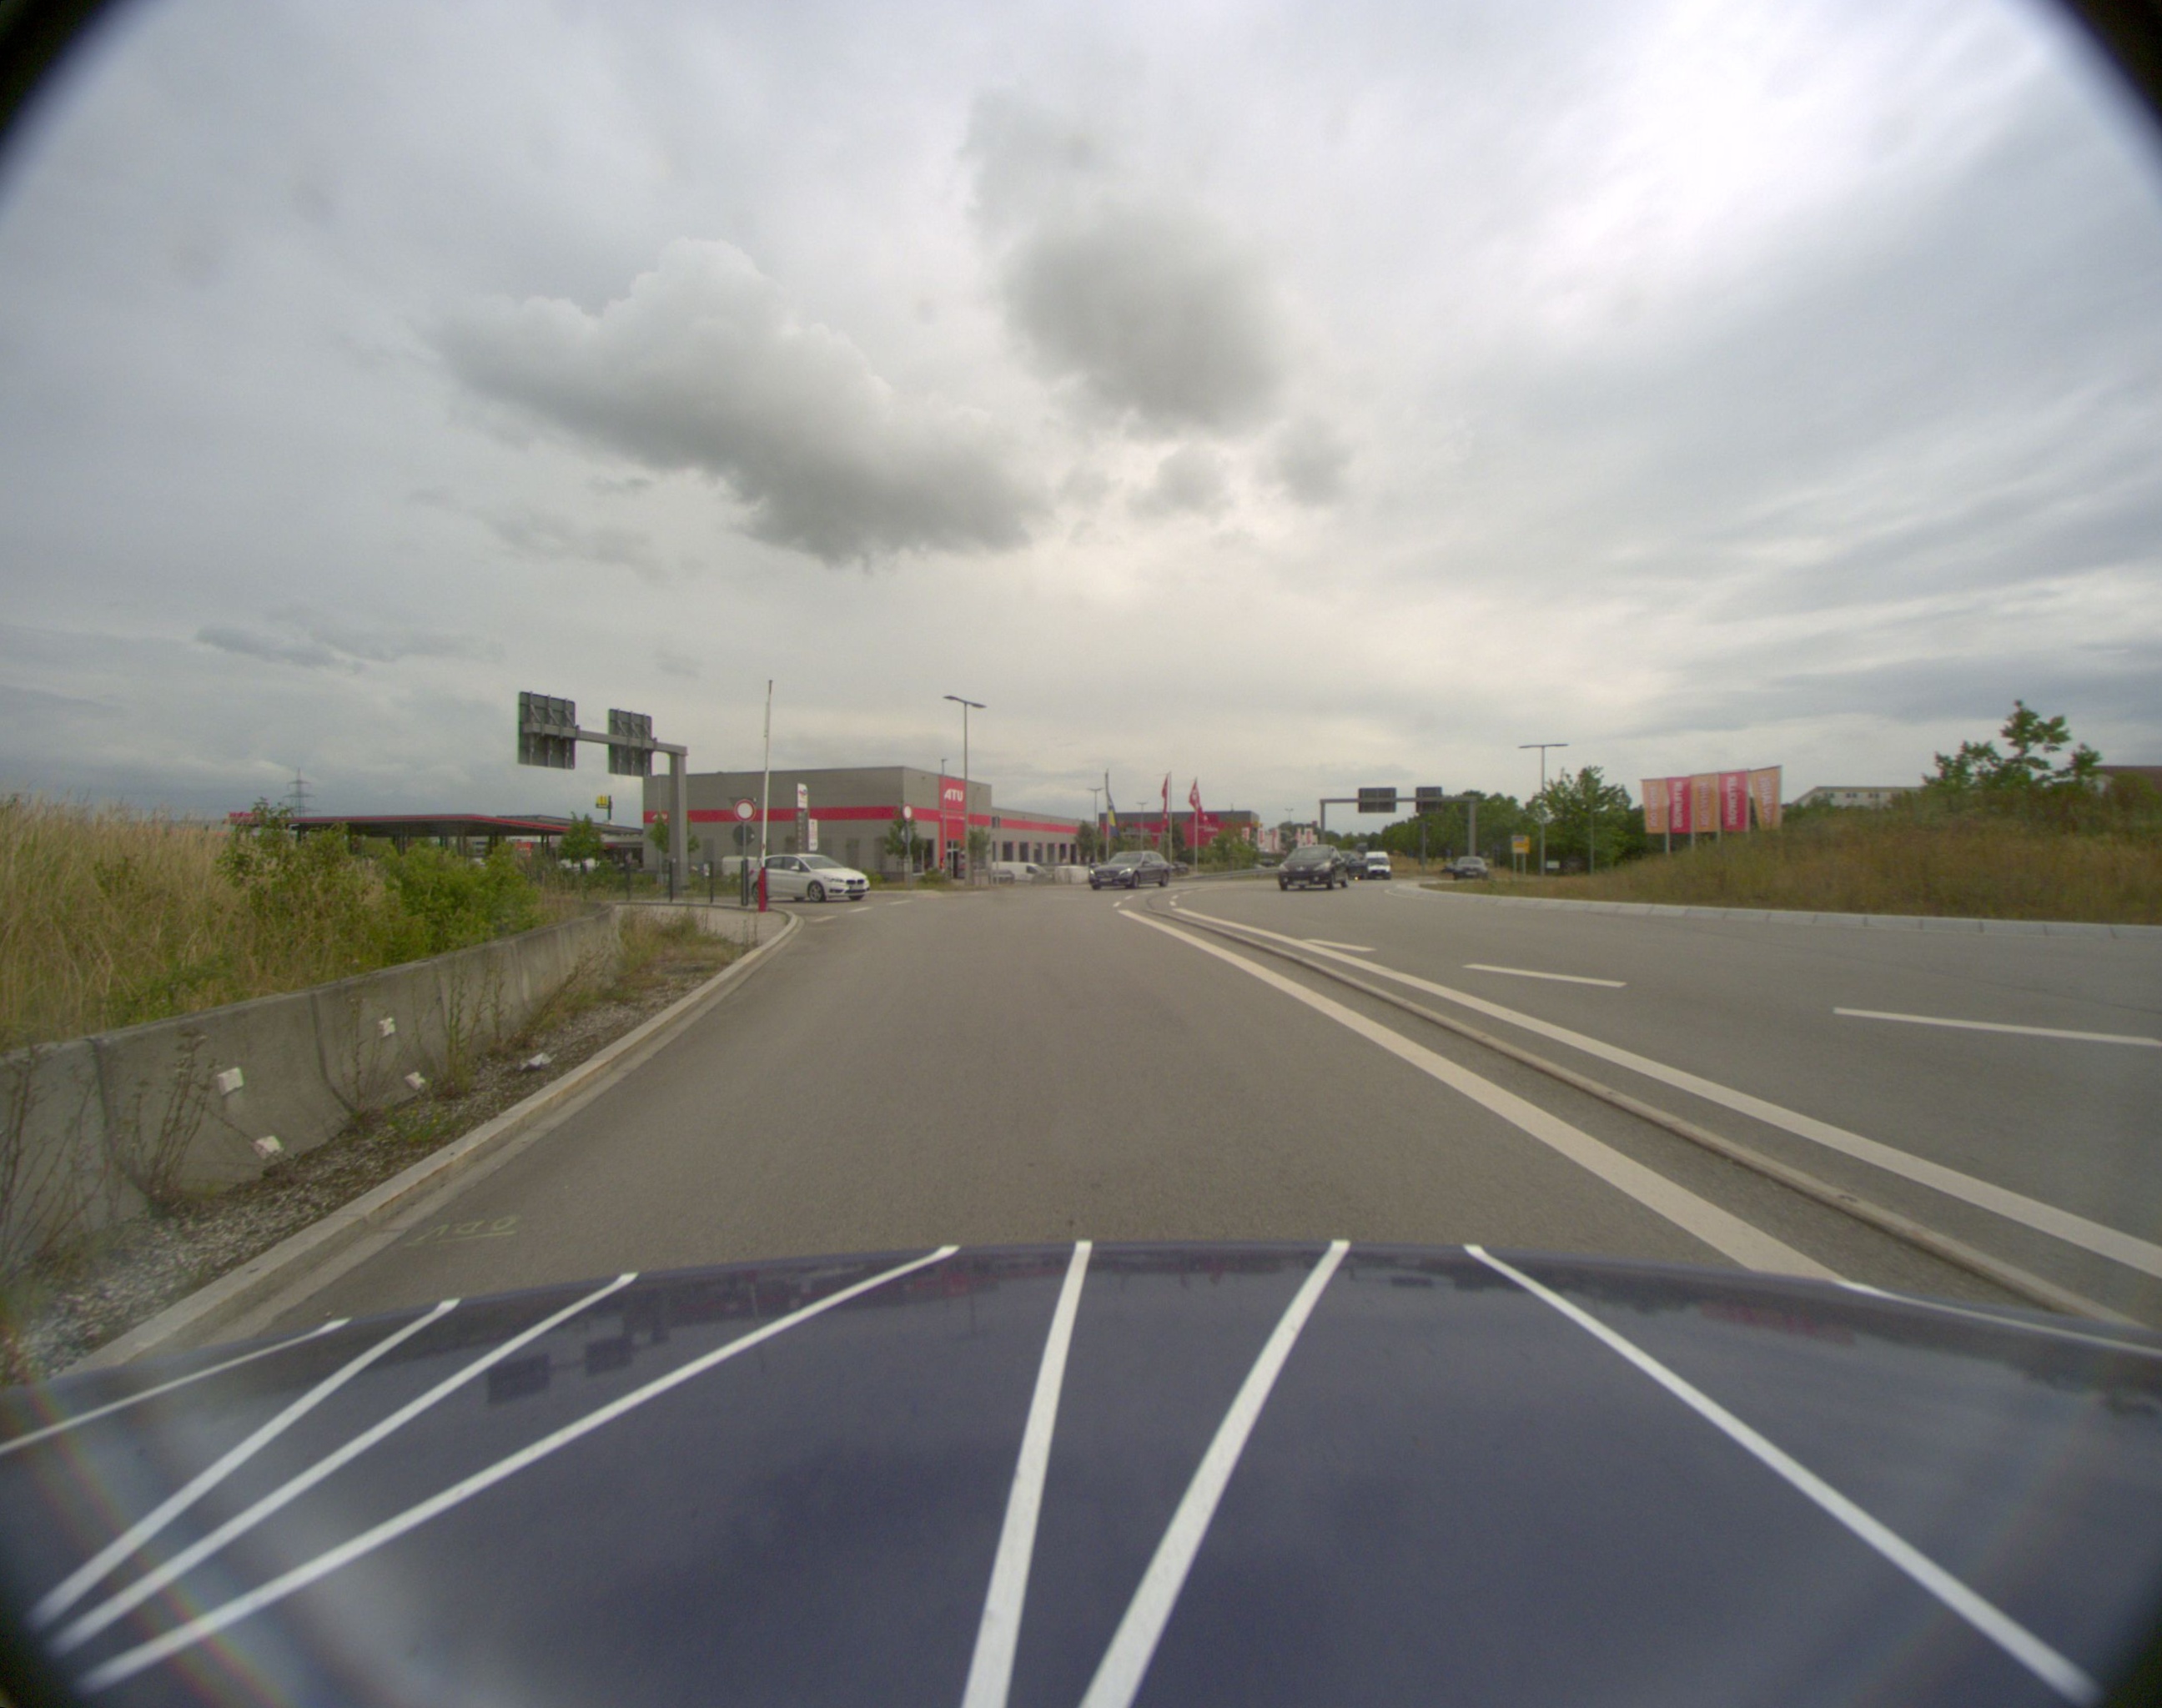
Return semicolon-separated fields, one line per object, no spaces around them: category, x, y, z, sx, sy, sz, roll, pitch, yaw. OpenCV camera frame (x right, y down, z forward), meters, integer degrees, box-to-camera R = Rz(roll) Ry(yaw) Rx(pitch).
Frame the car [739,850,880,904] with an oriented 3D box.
car;-8.823;0.721;24.640;4.416;1.619;1.787;-1;0;28

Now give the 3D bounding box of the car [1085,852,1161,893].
car;1.710;0.660;29.586;1.761;1.412;4.097;0;1;21

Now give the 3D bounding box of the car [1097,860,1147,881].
car;3.247;1.332;61.132;1.774;1.570;4.066;-1;1;-37

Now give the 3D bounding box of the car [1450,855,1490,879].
car;22.136;0.719;43.230;1.576;1.261;3.321;-1;0;35

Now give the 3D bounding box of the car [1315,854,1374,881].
car;15.186;0.743;43.670;1.856;1.403;4.567;-1;0;37

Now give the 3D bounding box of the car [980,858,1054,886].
car;-4.686;1.323;56.179;5.070;2.035;2.002;0;0;13

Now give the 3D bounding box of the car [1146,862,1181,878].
car;8.610;1.700;79.715;1.653;1.612;4.069;1;-2;-27

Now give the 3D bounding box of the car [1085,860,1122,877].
car;2.421;1.521;80.816;3.693;1.628;1.592;-2;-1;13

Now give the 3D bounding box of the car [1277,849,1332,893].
car;7.484;0.591;25.256;1.578;1.346;3.830;-1;-2;19

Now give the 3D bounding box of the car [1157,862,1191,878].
car;10.060;1.794;82.513;1.739;1.612;4.069;1;-3;-27

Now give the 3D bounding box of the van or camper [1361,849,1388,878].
van or camper;25.611;0.803;66.357;2.049;2.350;5.549;-1;0;20

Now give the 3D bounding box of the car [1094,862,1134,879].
car;3.252;1.634;75.015;3.693;1.628;1.592;-2;-1;13
